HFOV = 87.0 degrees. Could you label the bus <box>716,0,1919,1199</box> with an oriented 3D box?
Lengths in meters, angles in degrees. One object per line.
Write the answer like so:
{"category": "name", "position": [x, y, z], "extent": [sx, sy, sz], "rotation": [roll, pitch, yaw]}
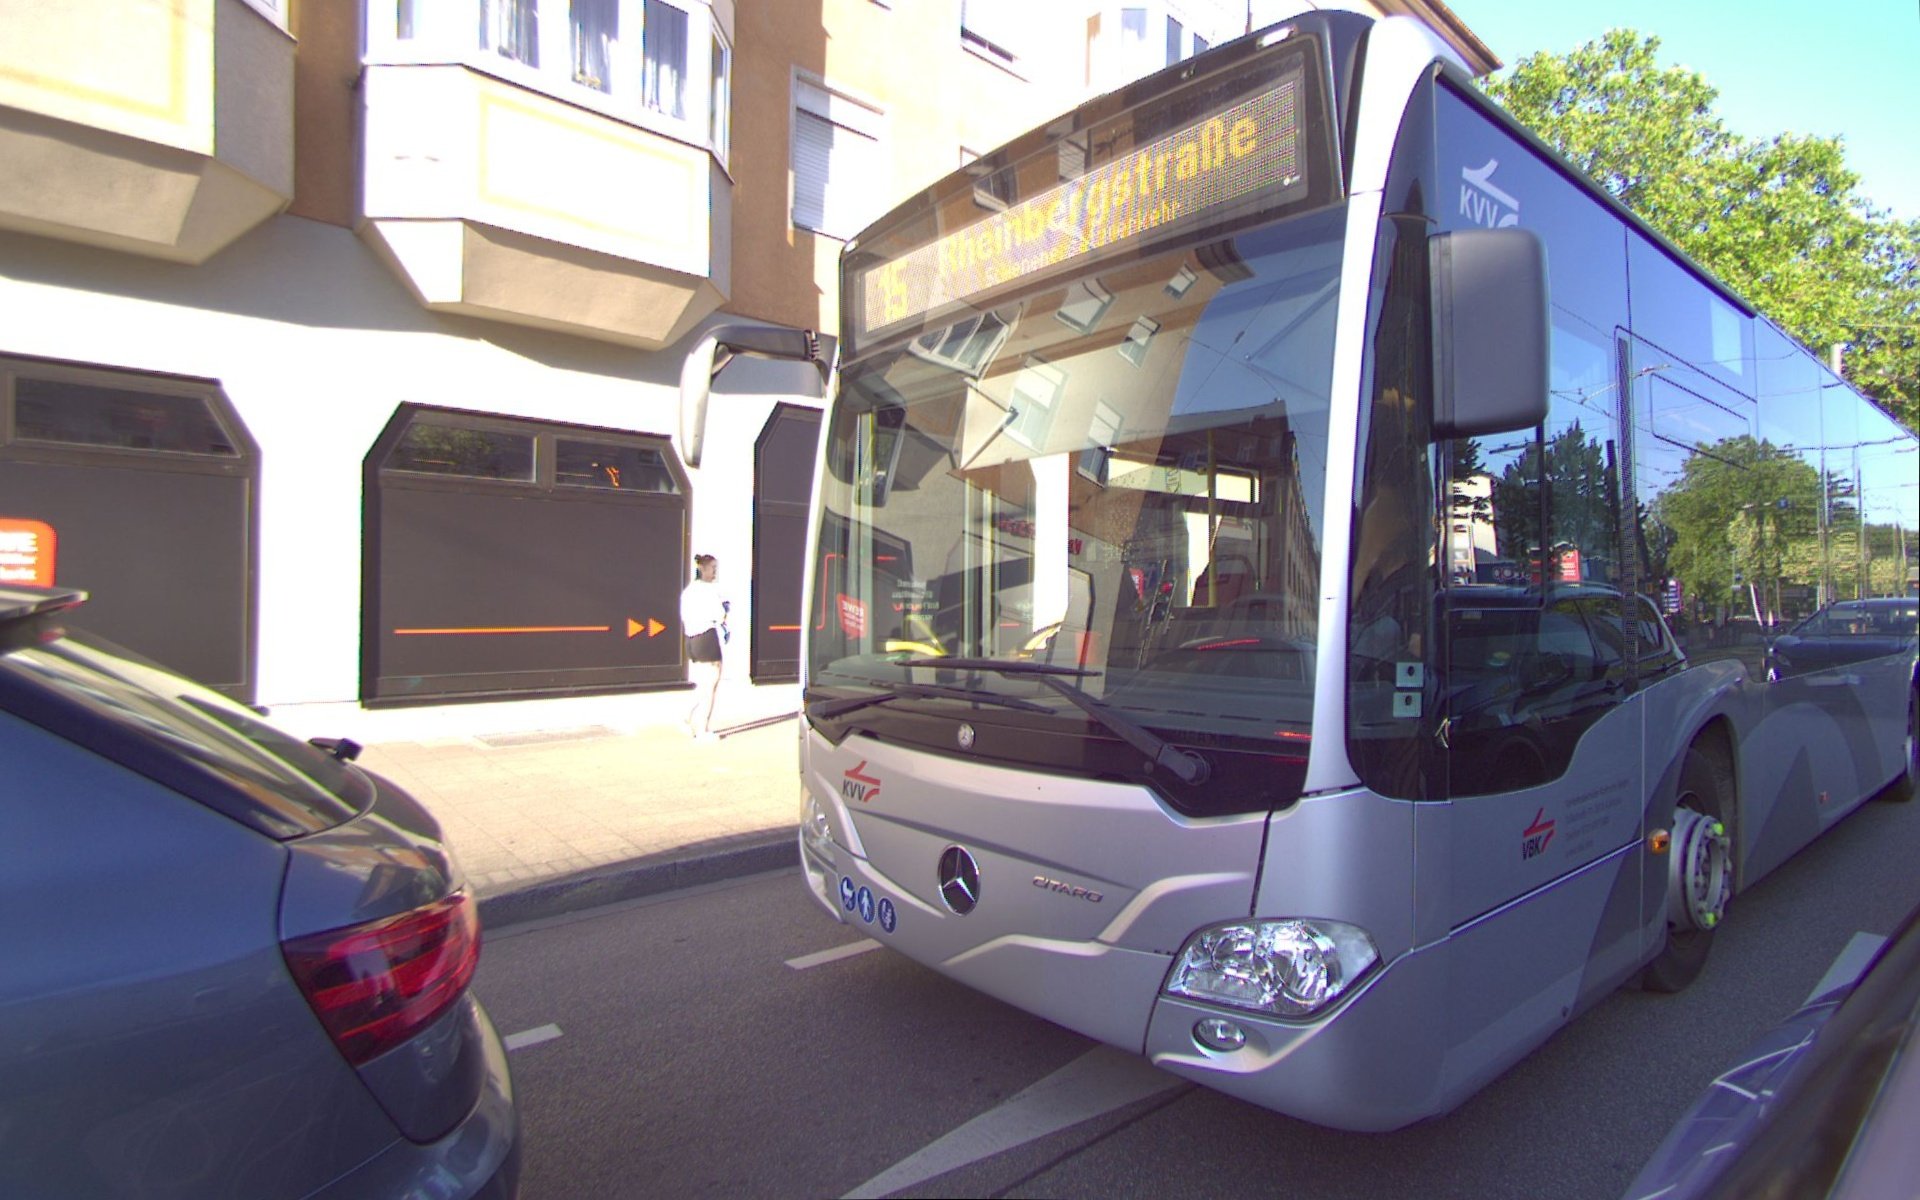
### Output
{"category": "bus", "position": [6.487, -0.194, 8.717], "extent": [17.432, 3.189, 2.771], "rotation": [0, 1, -41]}

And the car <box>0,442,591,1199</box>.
{"category": "car", "position": [-2.598, 0.640, 0.614], "extent": [4.151, 1.572, 1.700], "rotation": [0, -1, -41]}

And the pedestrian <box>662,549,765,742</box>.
{"category": "pedestrian", "position": [-2.150, 0.368, 8.820], "extent": [0.657, 1.603, 0.580], "rotation": [0, 1, -42]}
